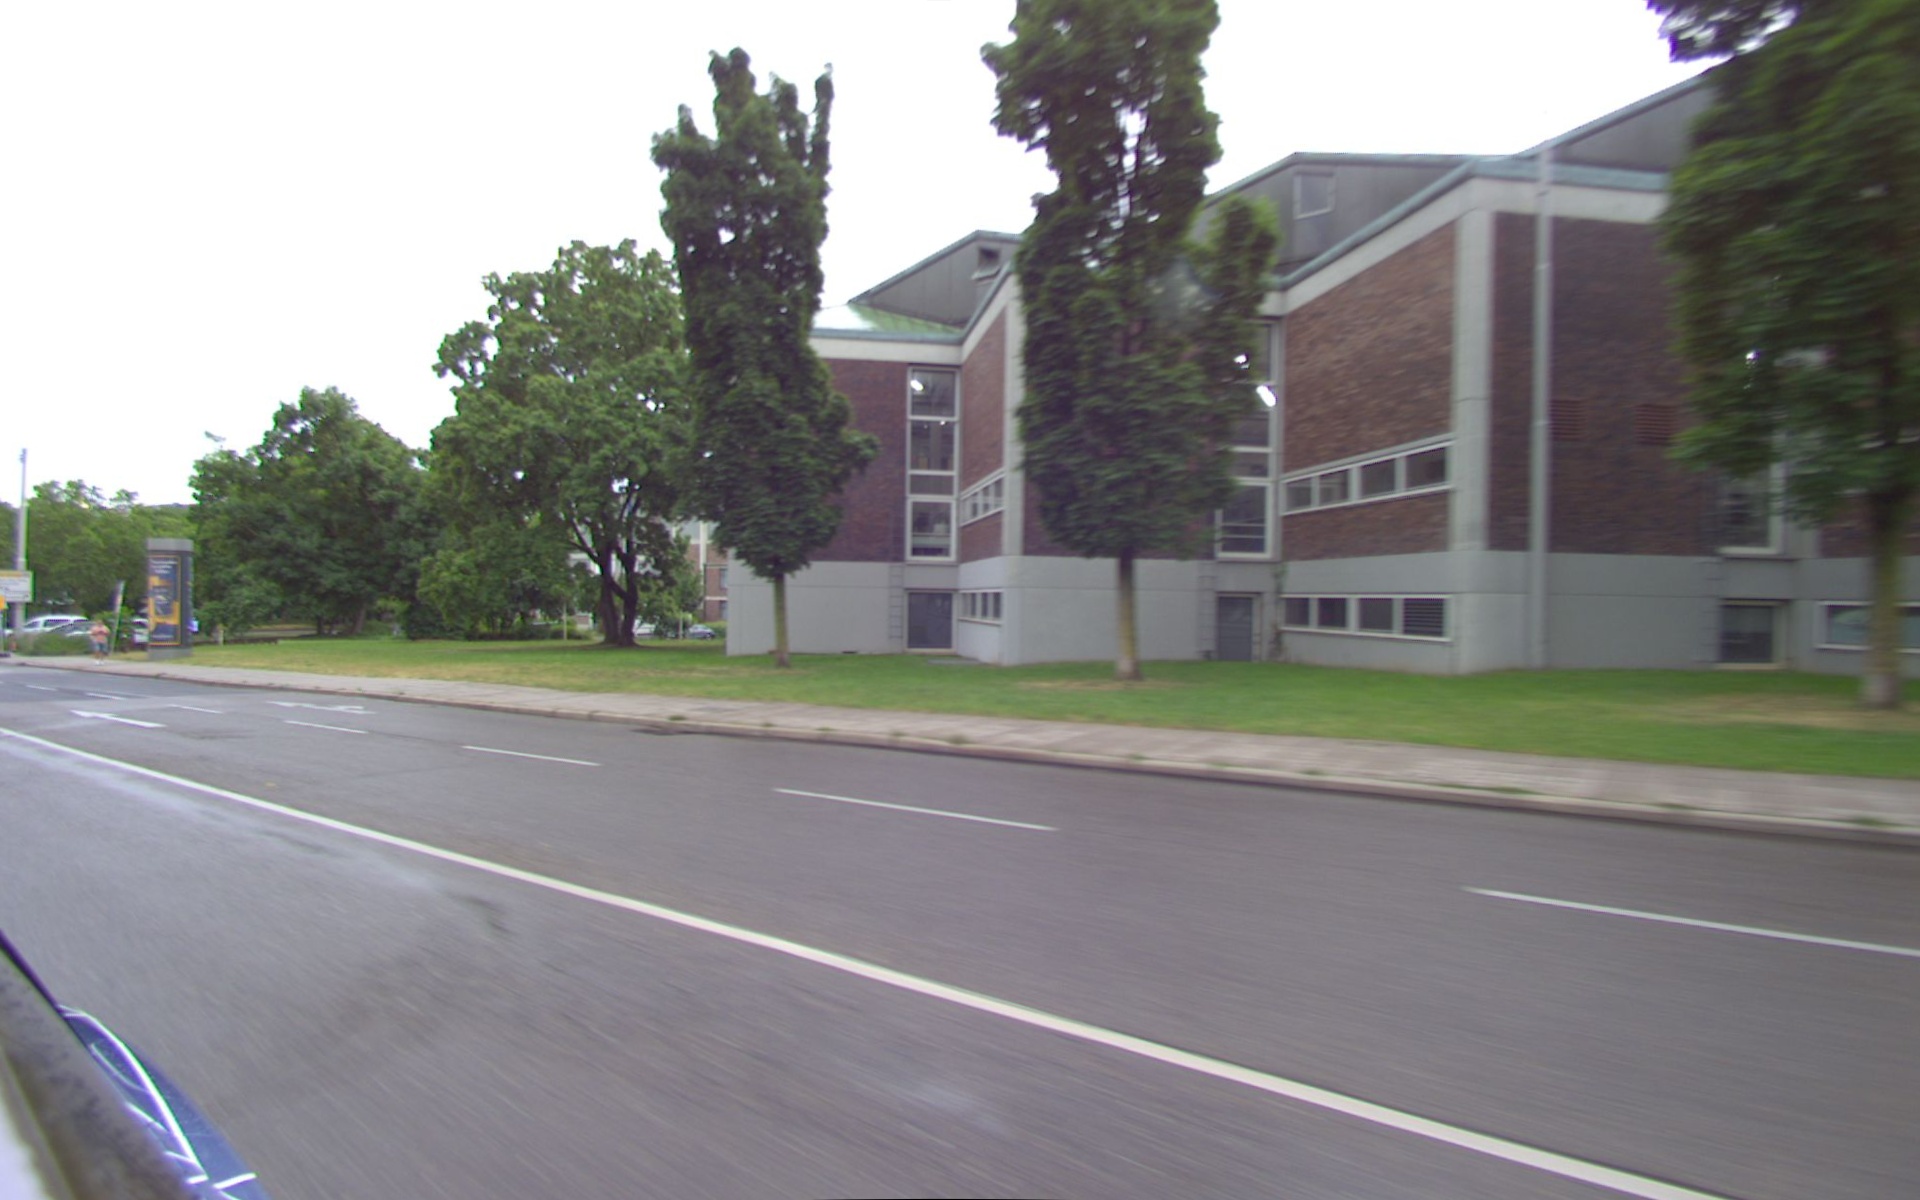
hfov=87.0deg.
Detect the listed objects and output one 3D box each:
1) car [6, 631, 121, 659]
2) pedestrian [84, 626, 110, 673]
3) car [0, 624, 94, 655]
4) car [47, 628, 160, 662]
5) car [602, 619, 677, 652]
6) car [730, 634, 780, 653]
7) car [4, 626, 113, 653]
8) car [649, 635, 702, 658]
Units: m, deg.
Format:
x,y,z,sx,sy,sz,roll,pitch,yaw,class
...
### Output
x,y,z,sx,sy,sz,roll,pitch,yaw,class
-50.267,2.524,56.843,4.505,1.359,1.911,-1,0,-29,car
-32.342,1.835,37.911,0.913,1.699,0.662,-1,0,44,pedestrian
-57.813,2.486,63.682,4.646,1.768,2.021,-1,0,-11,car
-44.800,2.333,53.003,4.467,1.621,1.867,-1,0,3,car
-29.481,3.247,93.188,2.738,2.782,6.130,-1,0,40,car
-16.763,3.538,82.941,1.778,1.385,3.891,-1,0,33,car
-52.177,2.280,58.685,4.304,1.359,1.911,-1,0,-24,car
-24.393,3.992,86.896,1.996,1.763,3.951,-2,-1,36,car
